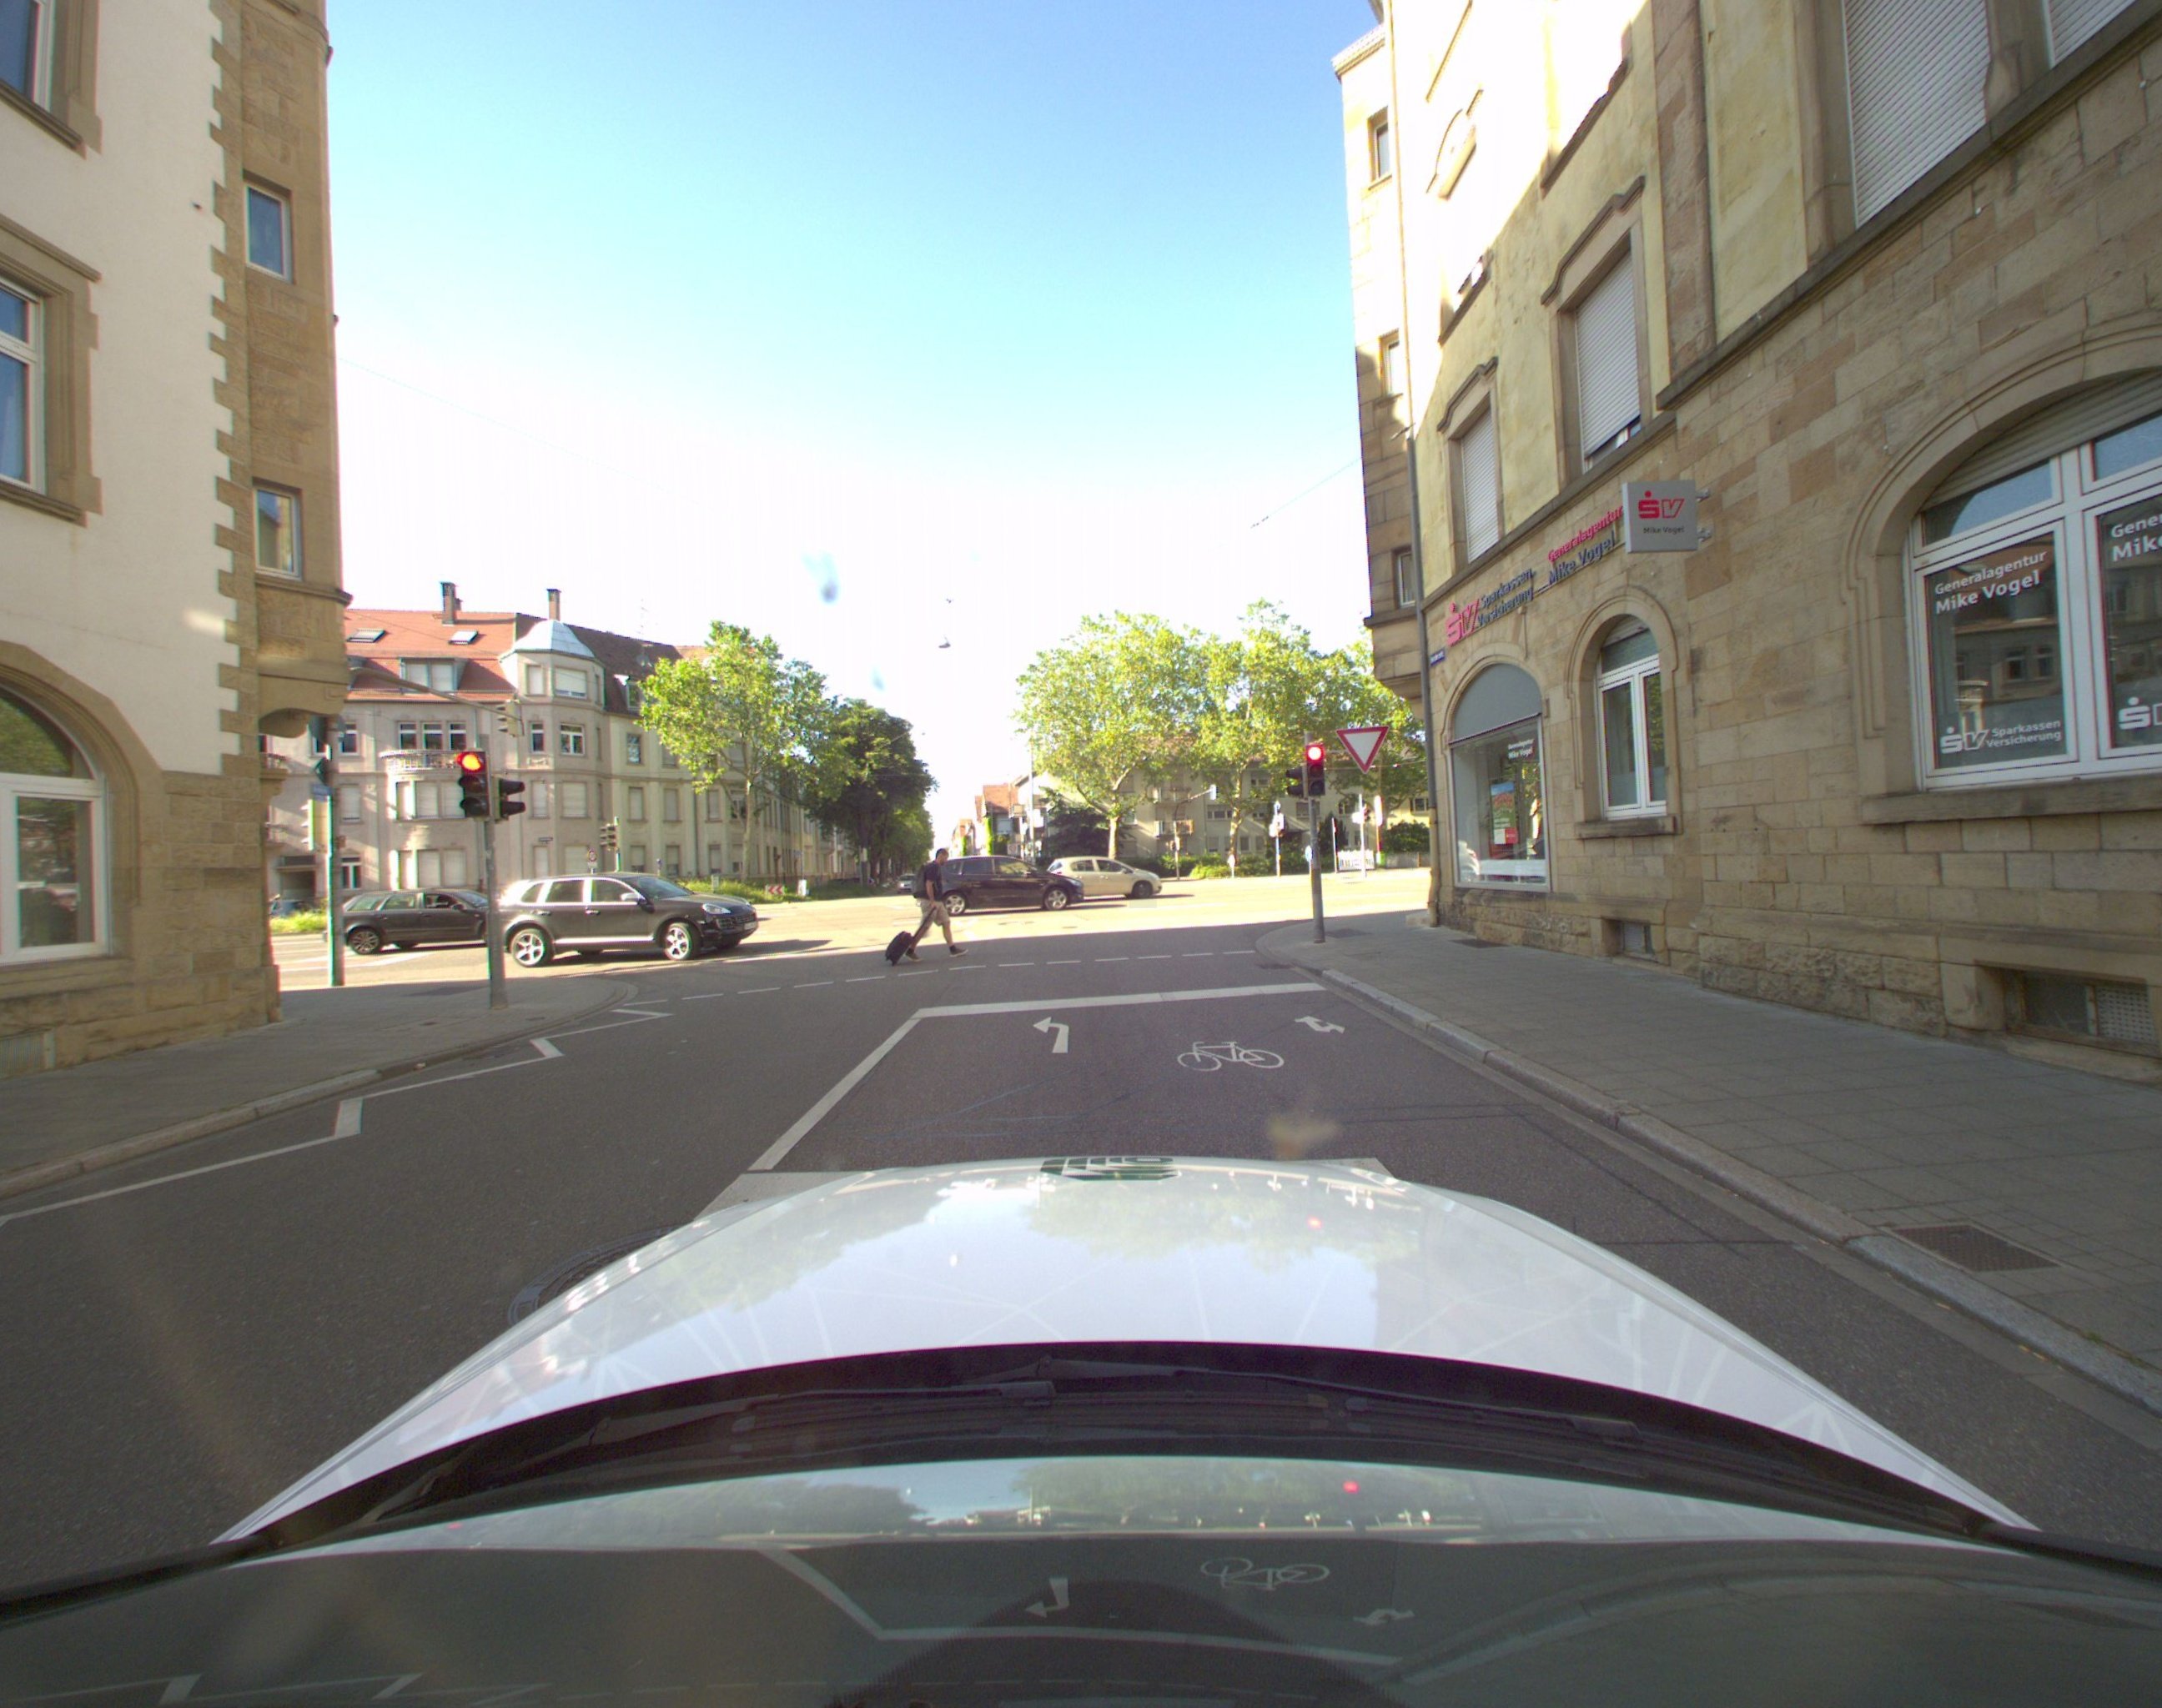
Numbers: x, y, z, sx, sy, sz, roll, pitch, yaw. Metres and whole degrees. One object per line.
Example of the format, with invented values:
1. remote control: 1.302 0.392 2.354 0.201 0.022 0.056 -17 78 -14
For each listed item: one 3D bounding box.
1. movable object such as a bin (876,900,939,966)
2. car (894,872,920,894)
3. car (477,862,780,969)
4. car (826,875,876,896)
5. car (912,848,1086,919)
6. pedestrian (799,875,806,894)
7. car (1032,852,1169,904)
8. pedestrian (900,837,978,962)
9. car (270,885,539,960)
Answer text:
1. movable object such as a bin: -2.657 1.207 12.528 0.862 0.892 0.507 -5 0 -11
2. car: -13.591 2.265 63.816 1.698 1.483 3.522 -4 0 -10
3. car: -8.700 1.142 16.003 4.676 1.693 2.080 -3 2 1
4. car: -17.949 2.469 63.713 3.636 1.457 1.650 -2 0 -14
5. car: -2.368 0.791 23.167 4.668 1.664 1.722 -3 0 -14
6. pedestrian: -21.028 2.286 61.489 0.489 1.442 0.702 0 -1 -14
7. car: 0.638 0.763 27.040 4.209 1.456 1.670 -3 0 -15
8. pedestrian: -2.261 0.697 12.970 1.066 1.848 0.746 -4 0 -11
9. car: -16.005 1.576 19.540 4.623 1.456 1.722 -2 -1 -13
